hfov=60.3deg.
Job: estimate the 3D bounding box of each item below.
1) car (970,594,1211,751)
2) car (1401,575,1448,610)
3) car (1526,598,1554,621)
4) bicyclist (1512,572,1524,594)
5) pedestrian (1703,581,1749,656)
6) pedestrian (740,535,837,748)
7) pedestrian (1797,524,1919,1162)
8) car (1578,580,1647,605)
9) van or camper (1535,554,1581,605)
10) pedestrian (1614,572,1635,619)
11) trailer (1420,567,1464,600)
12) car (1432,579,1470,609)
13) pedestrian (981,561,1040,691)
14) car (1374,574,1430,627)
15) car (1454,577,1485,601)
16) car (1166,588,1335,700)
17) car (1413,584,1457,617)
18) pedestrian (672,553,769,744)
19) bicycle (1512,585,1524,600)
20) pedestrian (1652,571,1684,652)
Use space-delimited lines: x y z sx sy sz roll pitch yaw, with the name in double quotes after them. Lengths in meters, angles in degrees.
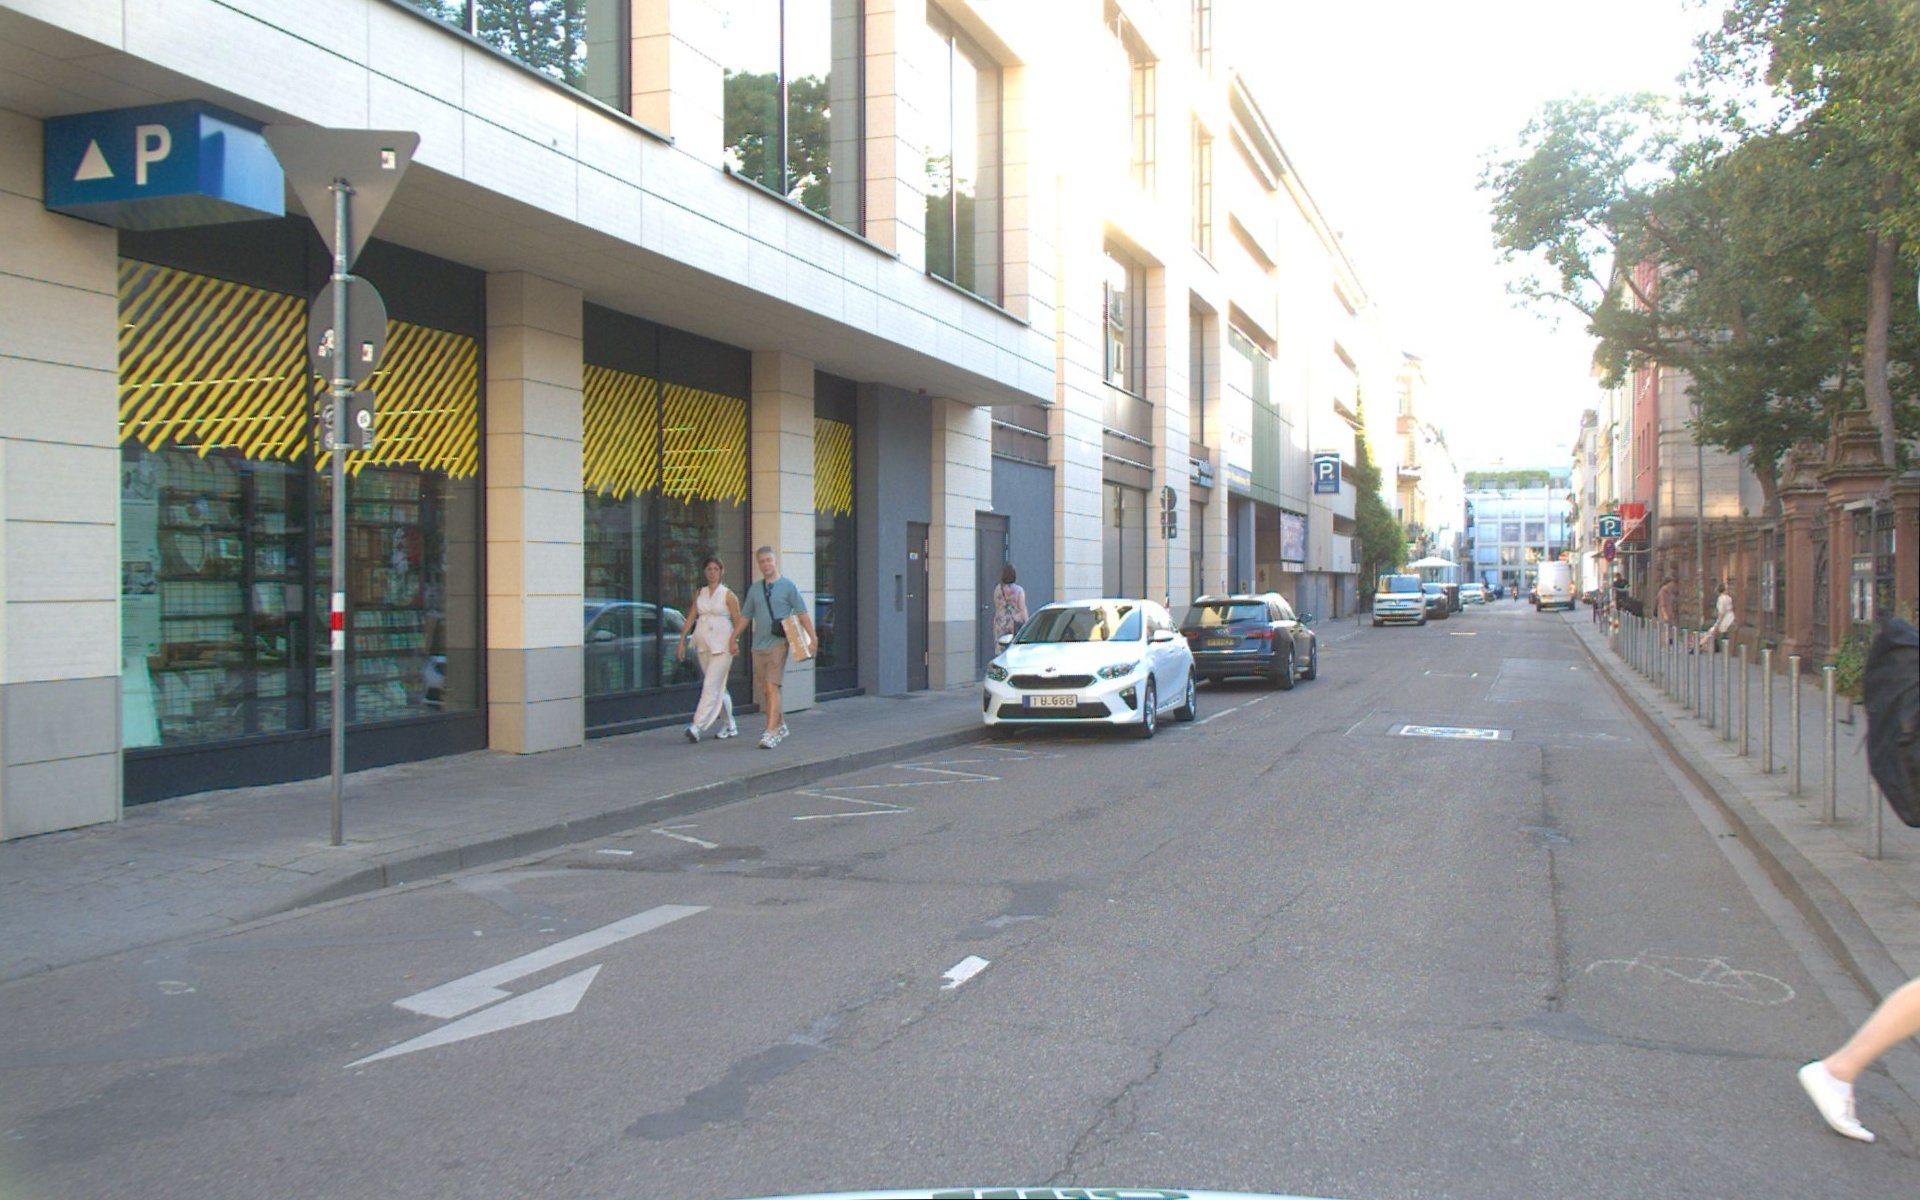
1.577 0.701 18.391 1.740 1.478 4.233 0 1 18 "car"
20.782 -0.351 73.930 1.844 1.478 4.002 0 1 18 "car"
44.669 0.717 127.420 1.952 1.713 4.001 1 0 19 "car"
48.740 -1.447 144.393 0.969 1.901 0.708 1 0 20 "bicyclist"
15.929 0.374 34.405 0.733 1.526 0.619 -1 0 14 "pedestrian"
-1.539 0.354 14.904 0.658 1.868 0.648 0 1 17 "pedestrian"
2.935 0.666 4.661 0.630 1.753 0.835 0 1 -36 "pedestrian"
40.101 -0.468 101.747 3.904 1.445 1.657 1 0 20 "car"
33.520 -1.123 92.766 2.211 2.653 5.113 -4 -1 19 "van or camper"
24.438 -0.163 60.812 0.648 1.695 0.624 -2 0 20 "pedestrian"
24.046 -0.822 82.436 1.952 1.584 4.002 1 0 18 "trailer"
25.788 -0.336 86.760 1.844 1.478 4.002 0 1 18 "car"
0.703 0.348 22.923 0.658 1.775 0.647 0 0 19 "pedestrian"
16.941 -0.006 63.222 1.844 1.945 4.751 0 1 18 "car"
36.806 -0.802 119.409 1.952 1.713 4.001 1 0 19 "car"
4.828 0.628 26.946 1.845 1.626 4.689 0 1 21 "car"
22.521 0.008 78.354 1.844 1.478 4.002 0 1 18 "car"
-2.177 0.424 15.096 0.658 1.704 0.648 0 1 17 "pedestrian"
48.743 -0.662 144.454 0.955 1.302 2.755 1 0 19 "bicycle"
14.990 0.247 35.034 0.474 1.687 0.619 -1 0 12 "pedestrian"
